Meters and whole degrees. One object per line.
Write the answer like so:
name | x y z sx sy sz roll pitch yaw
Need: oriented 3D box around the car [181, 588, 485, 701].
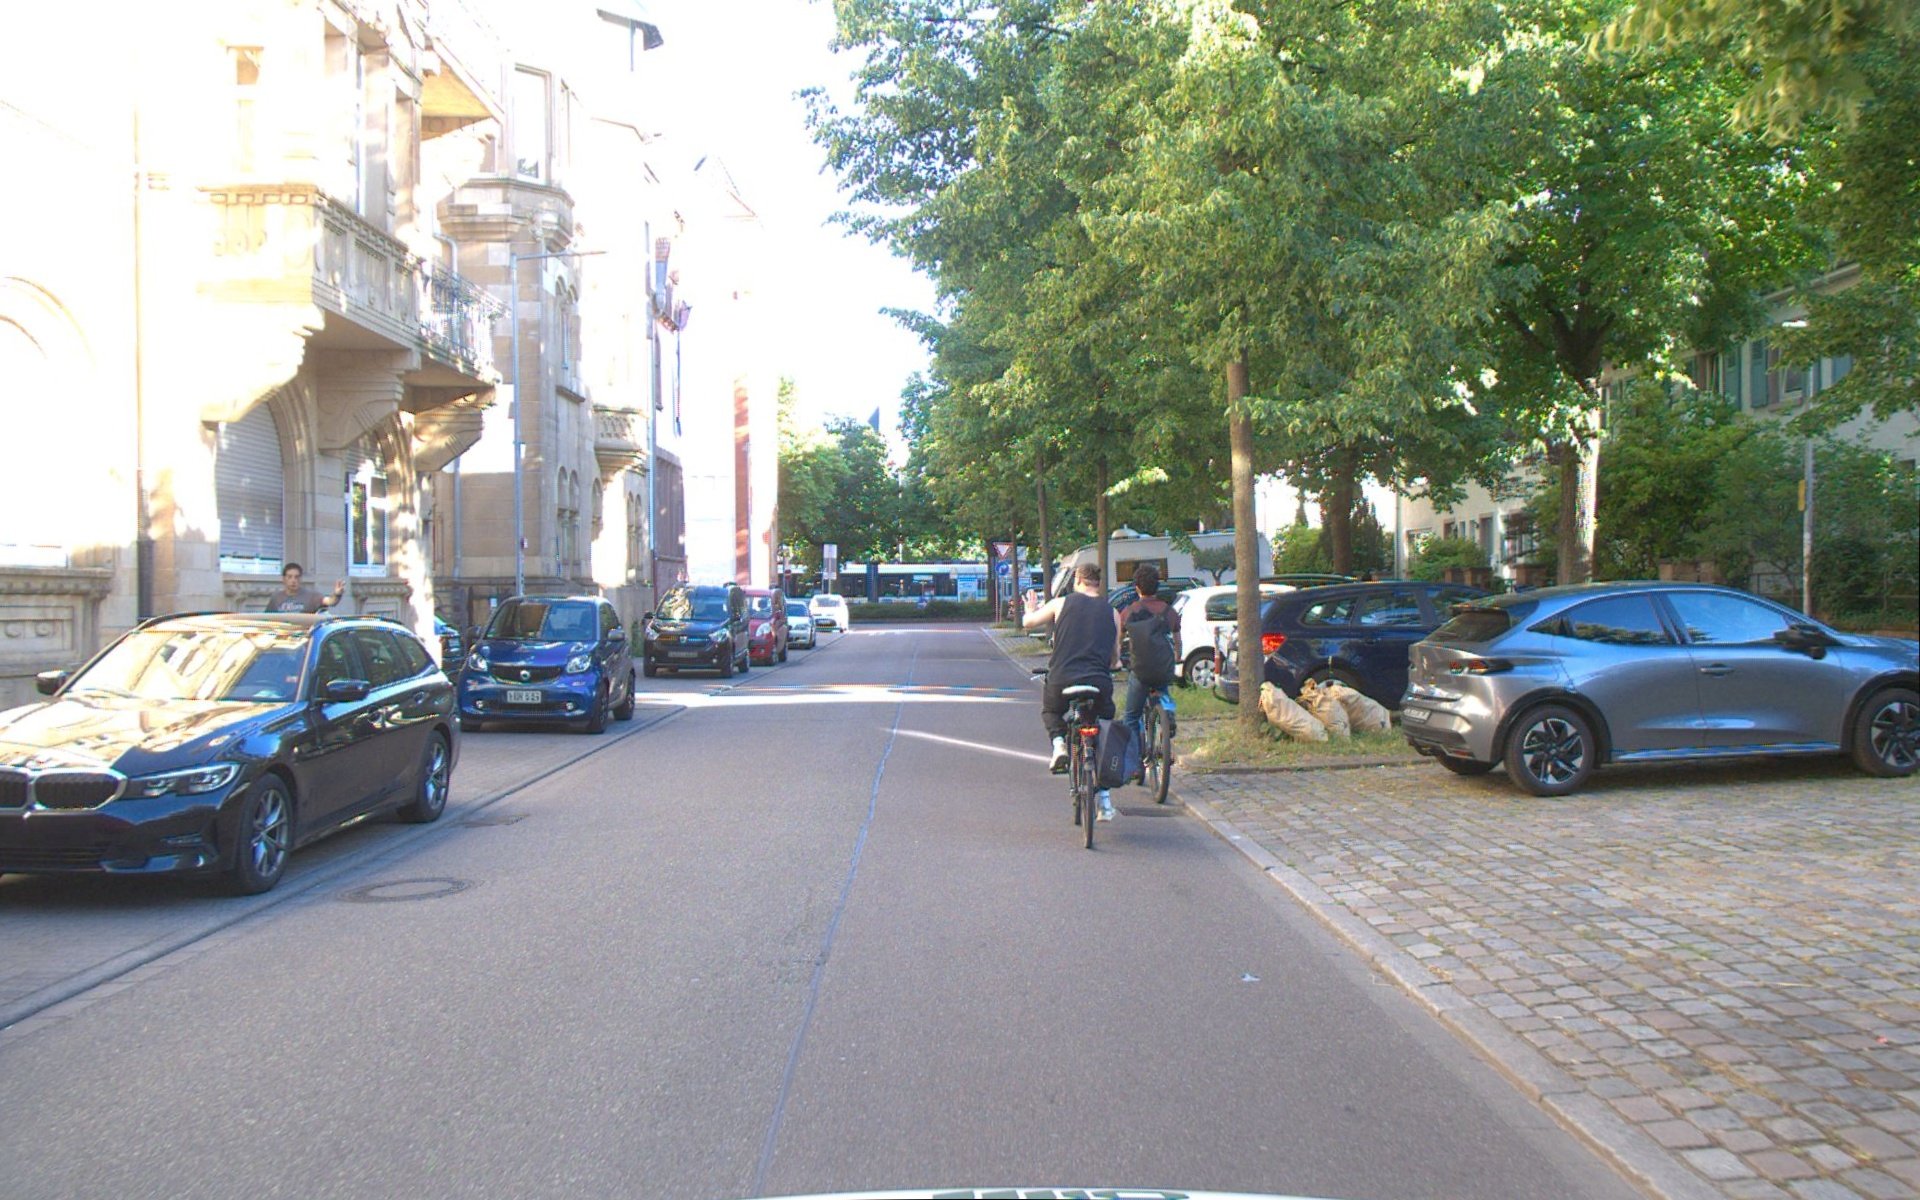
car | -9.775 0.673 26.005 4.114 1.697 1.718 0 0 -2

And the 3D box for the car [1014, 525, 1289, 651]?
car | 5.134 -0.327 45.021 7.006 3.030 2.462 -3 0 -4

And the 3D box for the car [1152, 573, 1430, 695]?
car | 4.747 0.501 24.076 3.695 1.628 1.691 -1 -2 1

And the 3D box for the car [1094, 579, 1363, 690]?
car | 4.253 0.565 26.689 4.053 1.628 1.702 -1 -2 1

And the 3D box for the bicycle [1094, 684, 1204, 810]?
bicycle | 1.471 1.131 13.136 0.620 0.813 1.832 -1 0 -1

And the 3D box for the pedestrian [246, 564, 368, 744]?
pedestrian | -6.593 0.541 16.738 0.919 1.773 0.735 1 -1 -1

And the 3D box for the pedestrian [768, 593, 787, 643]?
pedestrian | -6.574 0.650 59.635 0.596 1.793 0.432 1 -1 -1

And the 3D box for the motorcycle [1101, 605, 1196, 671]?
motorcycle | 3.419 0.685 30.036 1.574 1.161 0.671 -1 0 33

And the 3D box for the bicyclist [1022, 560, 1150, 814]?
bicyclist | 0.803 0.548 10.775 0.715 1.575 0.884 1 -1 -2

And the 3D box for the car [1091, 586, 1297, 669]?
car | 4.922 0.590 35.084 4.056 1.628 1.701 -1 -2 -3

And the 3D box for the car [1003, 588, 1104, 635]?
car | 3.784 0.459 67.311 3.907 1.835 1.833 1 -1 -3

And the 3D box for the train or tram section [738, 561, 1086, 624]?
train or tram section | -2.928 -0.410 110.701 23.484 3.773 4.255 1 -1 -24

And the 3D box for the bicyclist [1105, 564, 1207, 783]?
bicyclist | 1.535 0.559 13.078 0.675 1.655 0.998 0 0 0

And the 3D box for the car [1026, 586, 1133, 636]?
car | 4.543 0.423 63.191 3.907 1.835 1.833 1 -1 -3

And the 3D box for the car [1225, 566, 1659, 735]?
car | 5.053 0.541 17.743 4.136 1.628 1.691 -1 -2 1

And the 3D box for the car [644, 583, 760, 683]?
car | -5.050 0.590 32.847 1.607 1.814 4.354 1 1 0

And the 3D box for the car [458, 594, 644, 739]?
car | -4.803 0.736 19.722 1.564 1.515 2.735 3 0 -2

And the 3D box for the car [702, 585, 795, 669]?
car | -4.991 0.587 39.558 1.654 1.857 4.272 1 1 0

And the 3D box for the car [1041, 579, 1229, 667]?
car | 3.953 0.515 37.746 4.002 1.678 1.640 -4 0 -3

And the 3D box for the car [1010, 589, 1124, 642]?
car | 3.828 0.575 59.424 3.907 1.835 1.833 1 -1 -3

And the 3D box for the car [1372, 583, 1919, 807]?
car | 5.274 0.643 12.307 3.953 1.479 1.689 -1 0 -5

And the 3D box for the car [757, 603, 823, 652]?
car | -5.153 0.807 50.512 1.551 1.367 4.131 1 1 0

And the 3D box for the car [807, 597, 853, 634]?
car | -5.341 0.624 68.070 1.551 1.399 4.131 1 1 0

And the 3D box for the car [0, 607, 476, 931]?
car | -4.496 0.827 10.247 1.641 1.455 4.550 1 1 0

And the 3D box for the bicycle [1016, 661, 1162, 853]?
bicycle | 0.795 0.965 10.770 0.722 1.072 1.955 1 -1 -2
